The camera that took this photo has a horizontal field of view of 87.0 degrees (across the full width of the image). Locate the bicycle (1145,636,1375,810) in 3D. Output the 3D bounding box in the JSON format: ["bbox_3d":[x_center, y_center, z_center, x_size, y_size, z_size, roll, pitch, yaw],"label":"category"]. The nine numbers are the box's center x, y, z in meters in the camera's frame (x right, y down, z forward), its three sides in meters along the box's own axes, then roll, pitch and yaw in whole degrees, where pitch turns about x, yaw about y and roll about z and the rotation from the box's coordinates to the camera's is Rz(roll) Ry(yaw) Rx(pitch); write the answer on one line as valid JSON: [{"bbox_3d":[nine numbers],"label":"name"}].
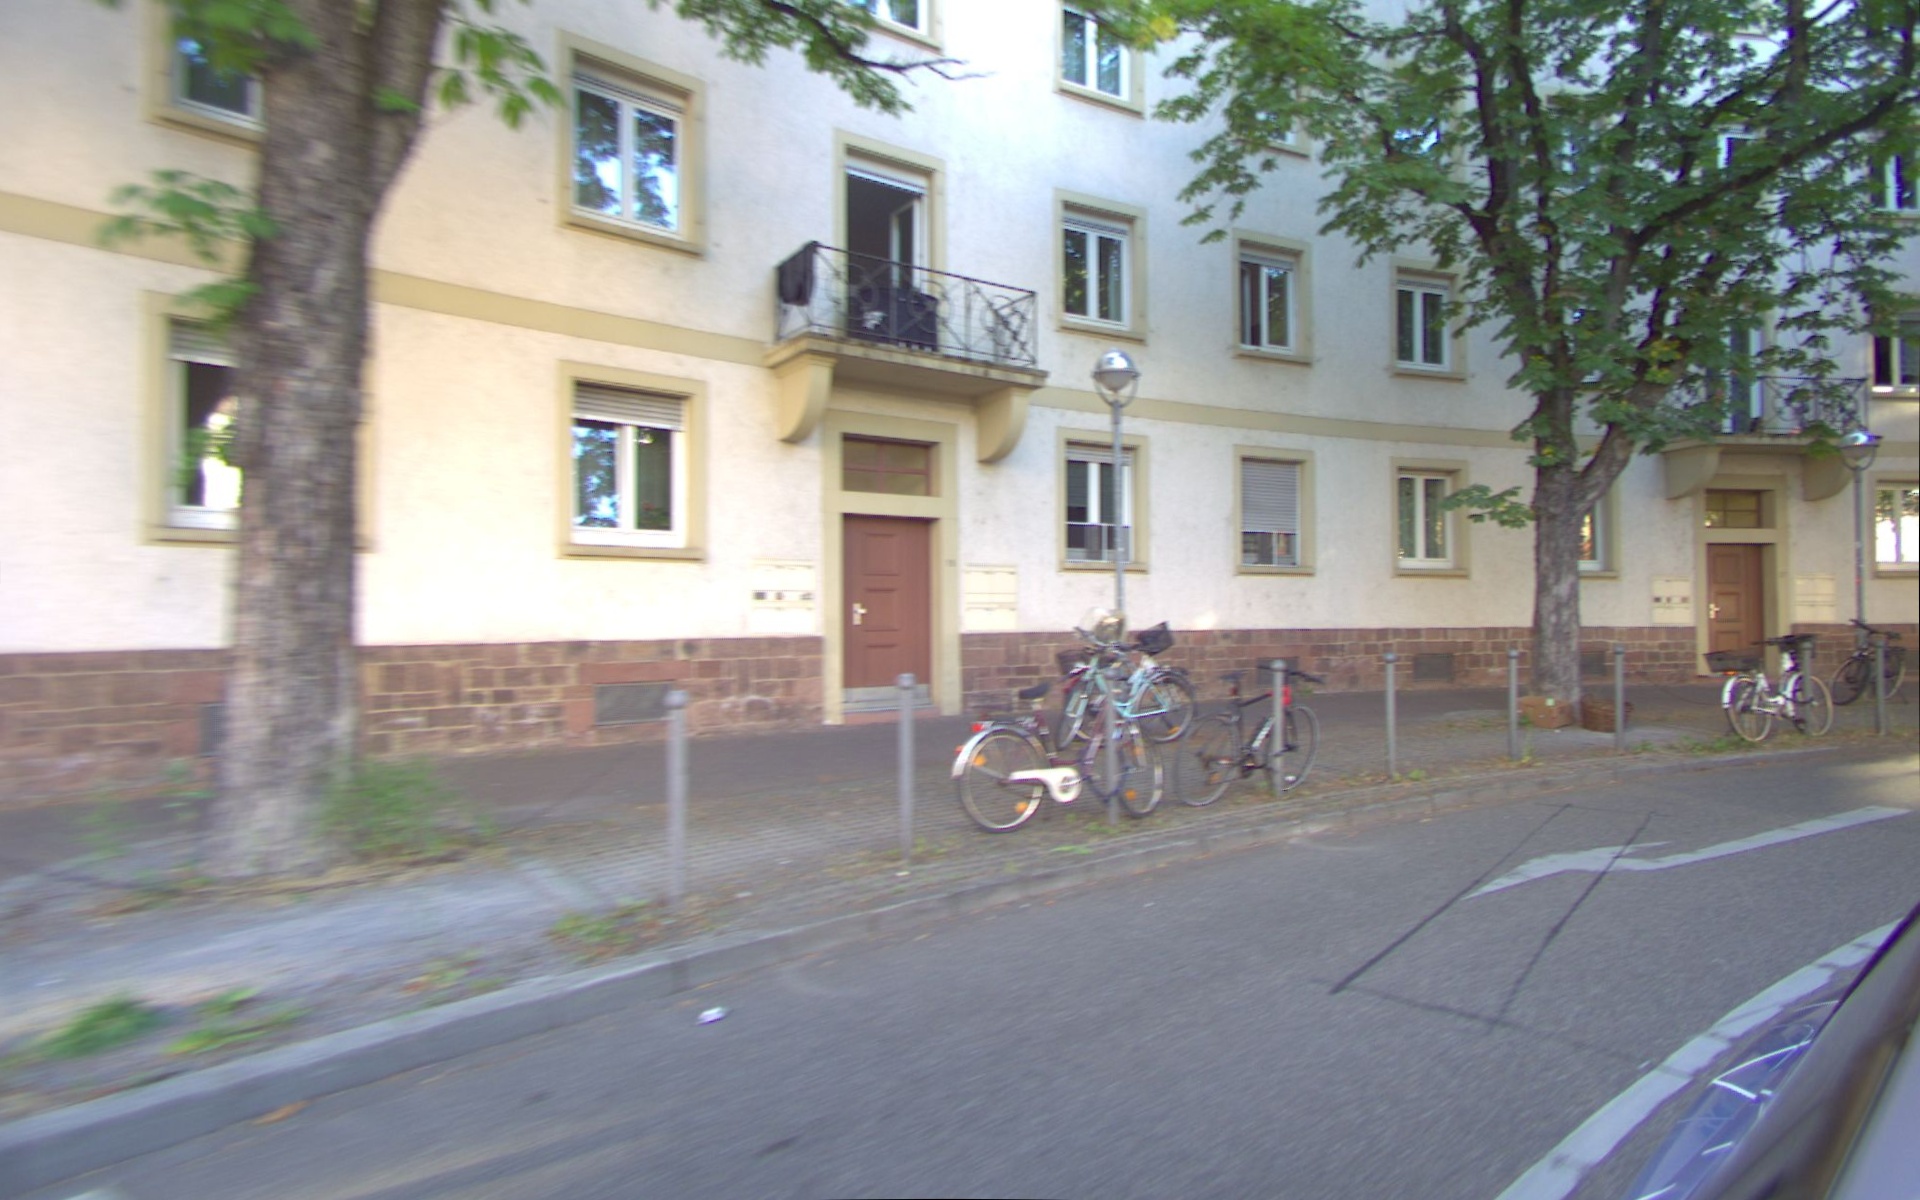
[{"bbox_3d":[2.225,0.848,7.439,1.705,1.121,0.528,1,1,-27],"label":"bicycle"}]

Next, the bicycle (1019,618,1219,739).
[{"bbox_3d":[1.619,0.754,10.252,1.925,1.121,0.670,0,-1,-23],"label":"bicycle"}]

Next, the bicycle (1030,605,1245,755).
[{"bbox_3d":[1.680,0.701,9.541,1.926,1.293,0.721,0,0,-24],"label":"bicycle"}]

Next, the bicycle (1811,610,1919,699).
[{"bbox_3d":[12.598,0.711,13.862,1.820,1.133,0.804,0,-1,-28],"label":"bicycle"}]

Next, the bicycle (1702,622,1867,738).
[{"bbox_3d":[8.764,0.816,10.742,1.933,1.109,0.515,0,1,-24],"label":"bicycle"}]

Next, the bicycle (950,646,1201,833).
[{"bbox_3d":[0.775,0.864,6.642,1.602,1.077,0.483,1,1,-25],"label":"bicycle"}]
